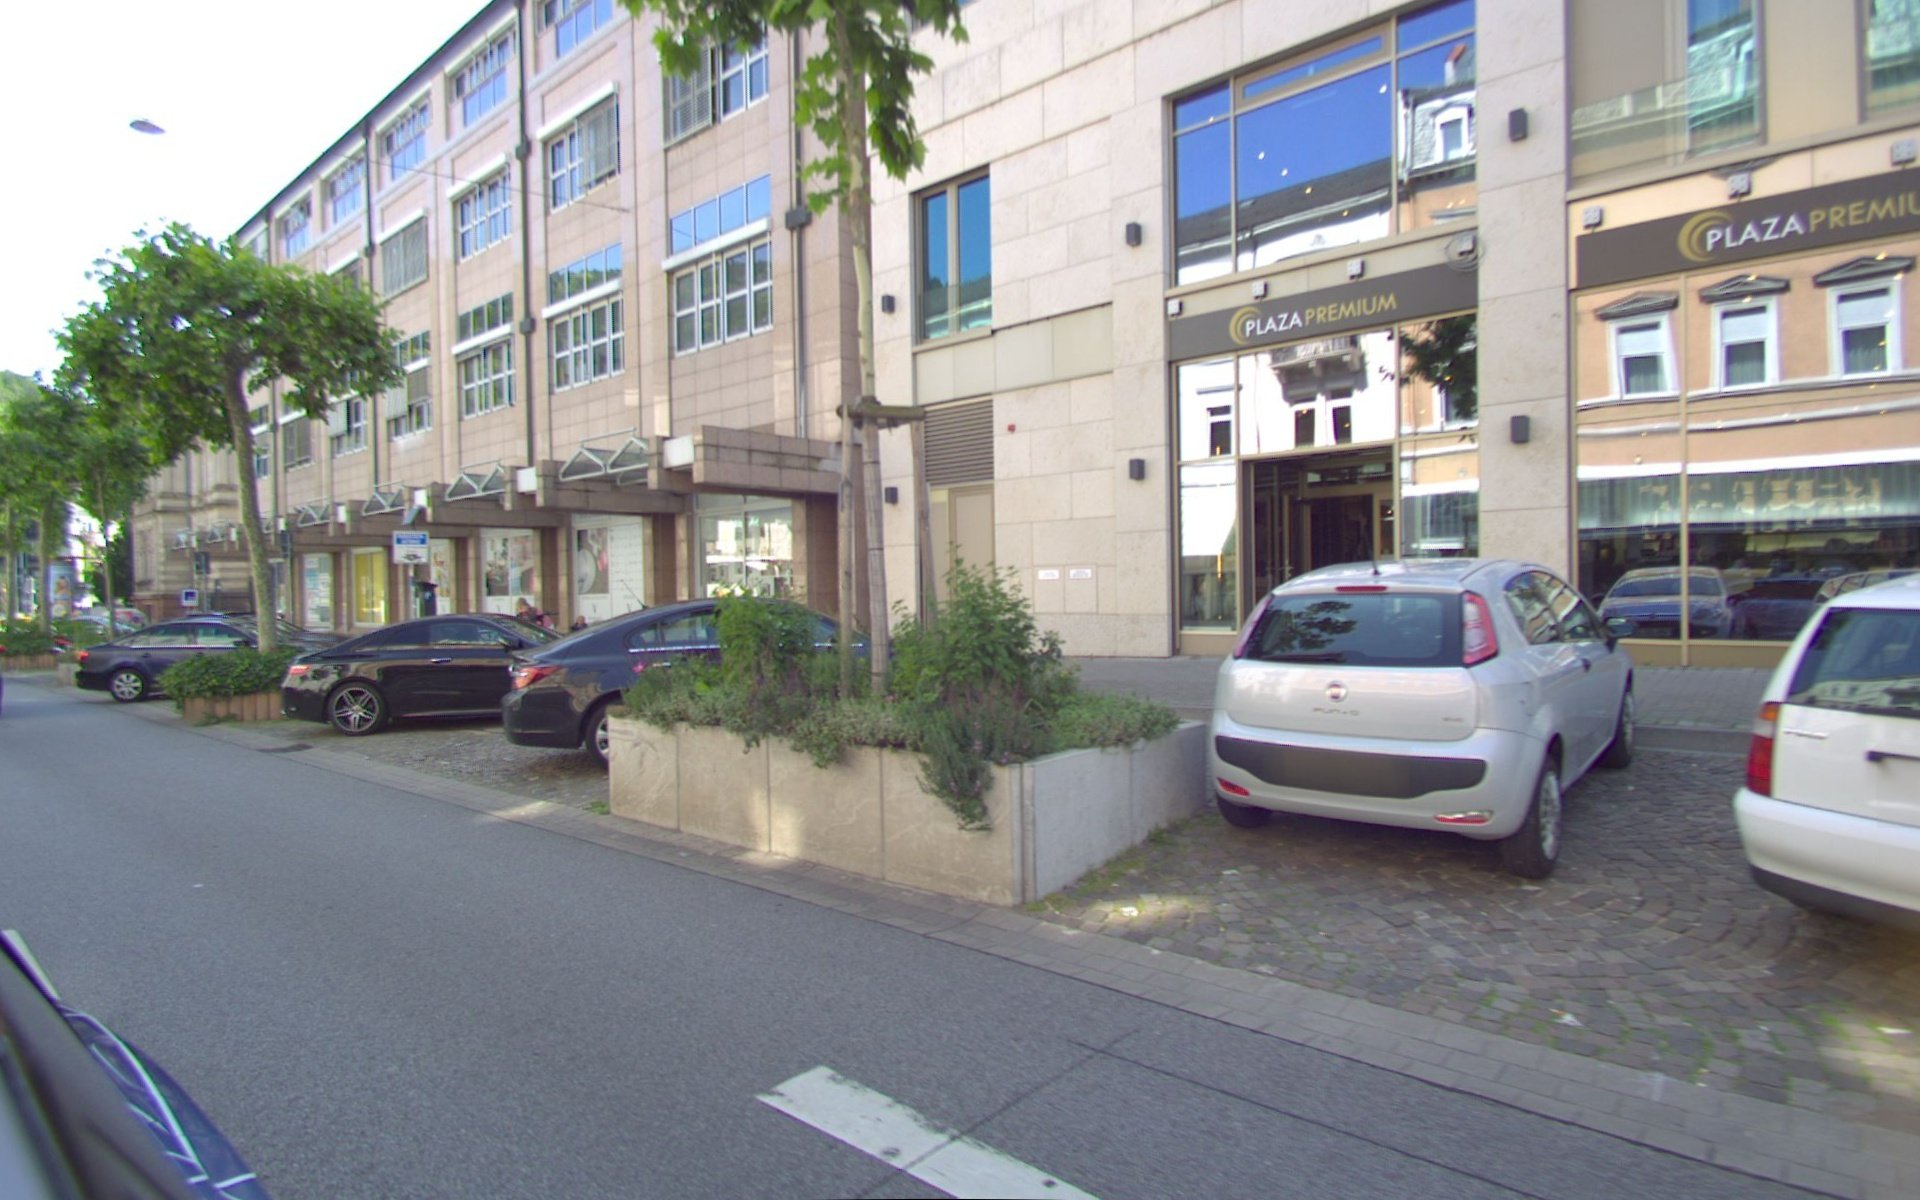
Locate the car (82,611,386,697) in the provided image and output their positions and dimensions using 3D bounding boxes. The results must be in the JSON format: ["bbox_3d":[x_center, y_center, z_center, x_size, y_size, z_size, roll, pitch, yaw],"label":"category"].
[{"bbox_3d":[-15.491,1.110,21.877,5.051,1.645,1.847,-1,-1,-9],"label":"car"}]

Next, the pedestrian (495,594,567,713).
[{"bbox_3d":[-7.119,0.862,16.793,0.844,1.893,0.829,-1,-1,42],"label":"pedestrian"}]

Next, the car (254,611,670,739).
[{"bbox_3d":[-6.275,0.910,13.185,4.551,1.457,1.734,-1,-1,-5],"label":"car"}]

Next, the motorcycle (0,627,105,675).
[{"bbox_3d":[-27.458,1.506,30.192,3.058,1.361,0.979,-1,-1,-2],"label":"motorcycle"}]

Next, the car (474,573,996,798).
[{"bbox_3d":[-2.098,0.662,9.856,4.455,1.515,1.798,-5,3,-18],"label":"car"}]

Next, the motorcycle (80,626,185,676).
[{"bbox_3d":[-22.773,1.397,27.888,2.028,1.299,0.981,-1,-1,-10],"label":"motorcycle"}]

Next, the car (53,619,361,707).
[{"bbox_3d":[-14.133,1.151,19.251,4.333,1.457,1.889,-1,-1,-9],"label":"car"}]

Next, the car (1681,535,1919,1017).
[{"bbox_3d":[5.134,0.415,4.085,4.426,1.443,1.869,-7,4,-29],"label":"car"}]

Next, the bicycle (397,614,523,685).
[{"bbox_3d":[-9.078,0.880,18.465,0.476,1.110,1.975,-2,2,42],"label":"bicycle"}]

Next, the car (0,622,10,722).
[{"bbox_3d":[-16.505,1.140,15.845,4.102,1.489,1.845,-3,-3,39],"label":"car"}]

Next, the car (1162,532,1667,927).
[{"bbox_3d":[3.033,0.425,6.233,1.819,1.539,3.947,1,5,40],"label":"car"}]
